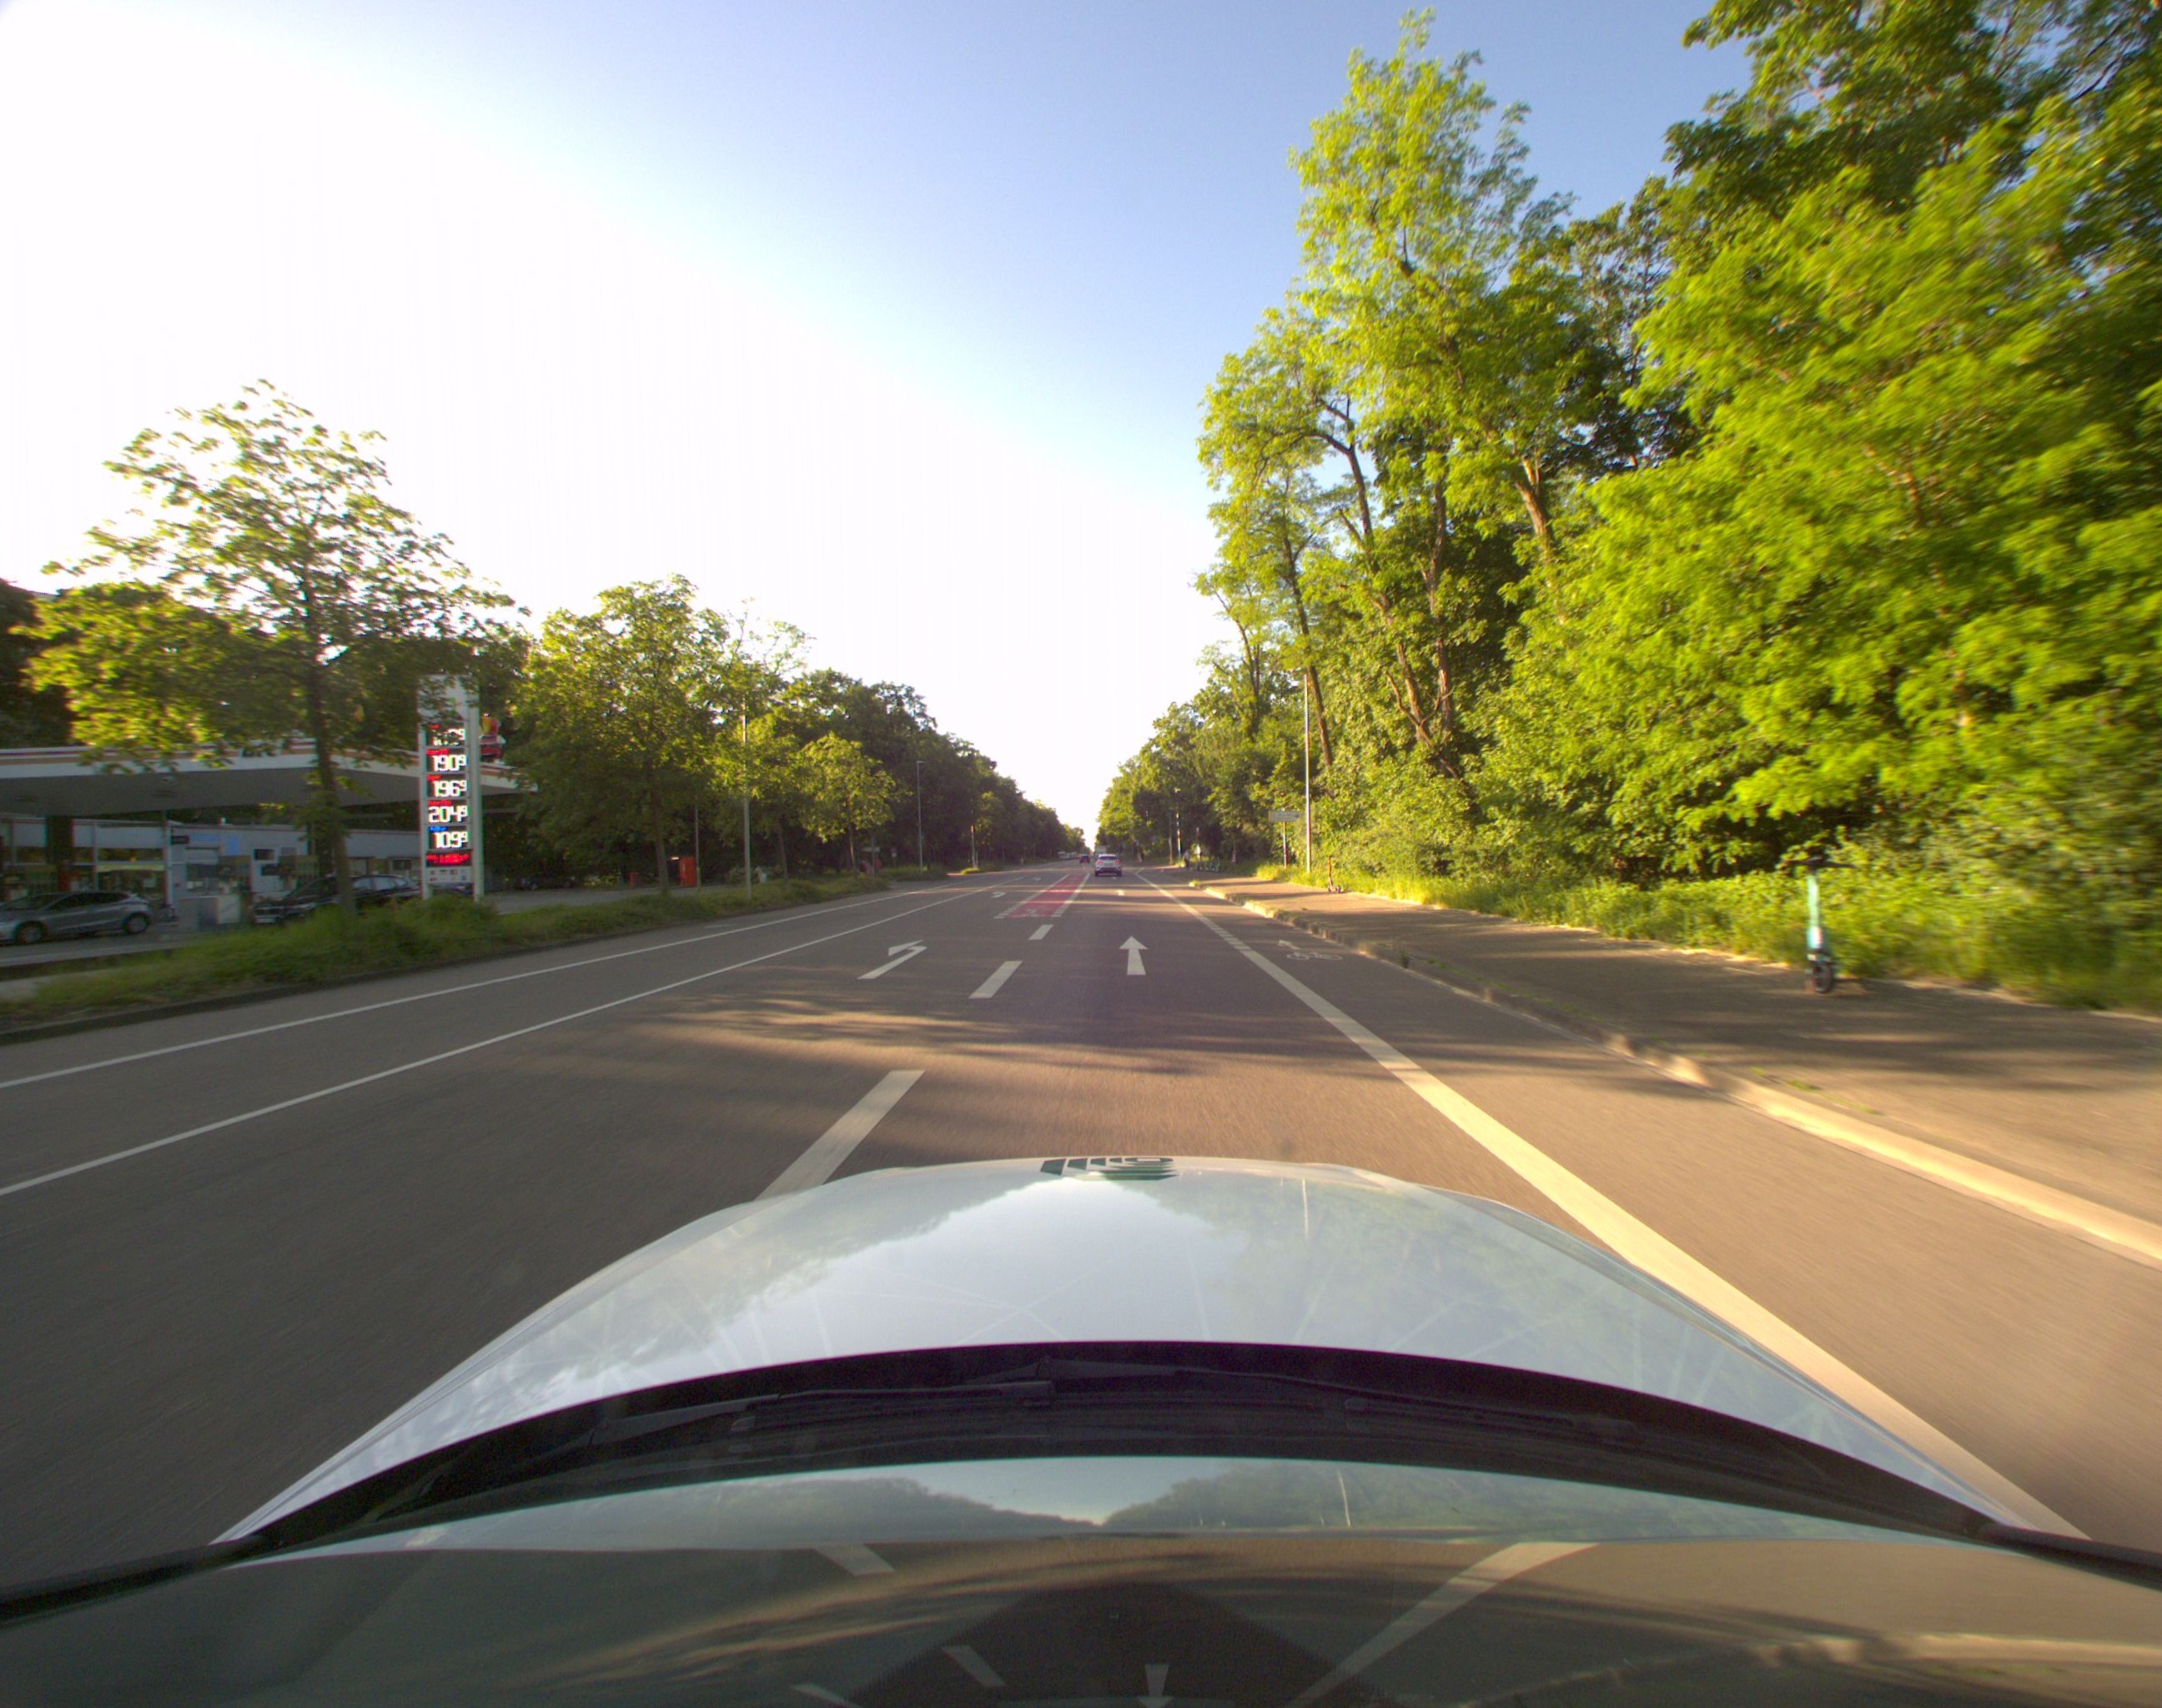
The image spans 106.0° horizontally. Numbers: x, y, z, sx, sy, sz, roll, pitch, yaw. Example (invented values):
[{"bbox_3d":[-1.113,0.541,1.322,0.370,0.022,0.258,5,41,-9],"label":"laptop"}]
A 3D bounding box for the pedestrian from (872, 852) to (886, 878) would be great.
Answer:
[{"bbox_3d":[-15.858,0.889,63.881,0.710,2.013,0.752,-2,0,32],"label":"pedestrian"}]

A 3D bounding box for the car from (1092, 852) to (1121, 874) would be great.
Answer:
[{"bbox_3d":[1.756,0.602,56.262,1.757,1.459,3.814,0,0,-2],"label":"car"}]

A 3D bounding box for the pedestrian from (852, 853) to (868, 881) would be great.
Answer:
[{"bbox_3d":[-16.358,0.938,60.400,0.710,2.013,0.802,-2,0,26],"label":"pedestrian"}]

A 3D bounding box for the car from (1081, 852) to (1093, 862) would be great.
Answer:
[{"bbox_3d":[1.040,0.493,140.535,1.986,1.519,4.002,-2,0,2],"label":"car"}]

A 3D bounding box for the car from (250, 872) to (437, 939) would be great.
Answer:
[{"bbox_3d":[-22.205,1.475,24.815,1.706,1.691,4.449,-2,0,-2],"label":"car"}]

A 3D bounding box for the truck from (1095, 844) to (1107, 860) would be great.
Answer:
[{"bbox_3d":[4.716,-0.437,193.414,2.790,3.570,8.033,-1,0,0],"label":"truck"}]

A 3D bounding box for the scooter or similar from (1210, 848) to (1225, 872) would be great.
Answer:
[{"bbox_3d":[8.595,0.377,51.399,0.679,1.423,1.682,-2,0,1],"label":"scooter or similar"}]

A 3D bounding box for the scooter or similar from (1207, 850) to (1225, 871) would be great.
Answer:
[{"bbox_3d":[8.824,0.426,53.250,0.467,1.306,1.471,-2,0,-20],"label":"scooter or similar"}]

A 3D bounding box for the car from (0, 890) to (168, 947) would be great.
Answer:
[{"bbox_3d":[-30.420,1.895,24.280,1.705,1.376,4.060,-2,0,1],"label":"car"}]

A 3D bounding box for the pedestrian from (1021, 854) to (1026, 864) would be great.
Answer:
[{"bbox_3d":[-11.149,0.974,158.309,0.827,2.013,1.270,-2,0,3],"label":"pedestrian"}]

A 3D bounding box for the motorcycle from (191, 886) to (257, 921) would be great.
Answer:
[{"bbox_3d":[-36.717,2.110,34.911,1.830,1.363,0.928,-2,0,2],"label":"motorcycle"}]

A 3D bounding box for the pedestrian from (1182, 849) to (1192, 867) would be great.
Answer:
[{"bbox_3d":[8.992,0.330,69.025,0.751,1.563,0.804,-2,0,6],"label":"pedestrian"}]

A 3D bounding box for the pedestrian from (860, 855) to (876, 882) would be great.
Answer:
[{"bbox_3d":[-15.998,1.096,61.124,0.710,2.013,0.802,-2,0,26],"label":"pedestrian"}]

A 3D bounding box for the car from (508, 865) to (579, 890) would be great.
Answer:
[{"bbox_3d":[-43.325,1.889,65.748,1.974,1.820,4.298,-2,0,31],"label":"car"}]

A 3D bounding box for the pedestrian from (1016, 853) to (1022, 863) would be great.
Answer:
[{"bbox_3d":[-12.015,0.785,158.317,0.860,2.013,1.270,-2,0,2],"label":"pedestrian"}]

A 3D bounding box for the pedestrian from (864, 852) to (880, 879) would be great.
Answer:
[{"bbox_3d":[-16.237,0.904,63.244,0.710,2.013,0.880,-2,0,32],"label":"pedestrian"}]

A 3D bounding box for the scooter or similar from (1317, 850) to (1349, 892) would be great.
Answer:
[{"bbox_3d":[7.928,0.517,25.630,0.531,1.250,1.542,-2,0,2],"label":"scooter or similar"}]

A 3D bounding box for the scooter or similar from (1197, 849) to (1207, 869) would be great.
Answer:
[{"bbox_3d":[9.172,0.372,61.921,0.678,1.423,1.249,-2,0,10],"label":"scooter or similar"}]

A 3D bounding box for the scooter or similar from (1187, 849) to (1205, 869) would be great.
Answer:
[{"bbox_3d":[8.348,0.376,59.110,0.683,1.423,1.673,-2,0,-14],"label":"scooter or similar"}]

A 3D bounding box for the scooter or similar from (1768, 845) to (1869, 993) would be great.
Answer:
[{"bbox_3d":[7.071,0.565,7.784,1.550,1.250,0.528,-2,0,-42],"label":"scooter or similar"}]

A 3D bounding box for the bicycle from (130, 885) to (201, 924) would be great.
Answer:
[{"bbox_3d":[-37.602,2.051,33.475,1.830,1.477,0.928,-2,0,2],"label":"bicycle"}]

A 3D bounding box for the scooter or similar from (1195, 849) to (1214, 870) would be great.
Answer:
[{"bbox_3d":[8.707,0.363,57.423,0.683,1.423,1.673,-2,0,-14],"label":"scooter or similar"}]

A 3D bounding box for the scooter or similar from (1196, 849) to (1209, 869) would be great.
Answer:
[{"bbox_3d":[9.026,0.342,60.410,0.679,1.423,1.682,-2,0,2],"label":"scooter or similar"}]

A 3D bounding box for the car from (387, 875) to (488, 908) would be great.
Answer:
[{"bbox_3d":[-35.932,2.083,45.561,3.979,1.555,1.896,-2,0,-4],"label":"car"}]

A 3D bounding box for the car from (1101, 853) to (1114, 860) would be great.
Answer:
[{"bbox_3d":[4.811,0.461,149.632,1.988,1.327,3.997,-2,0,-2],"label":"car"}]

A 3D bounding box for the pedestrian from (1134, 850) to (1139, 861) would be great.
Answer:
[{"bbox_3d":[8.417,0.187,123.260,0.696,1.653,0.876,-2,0,1],"label":"pedestrian"}]

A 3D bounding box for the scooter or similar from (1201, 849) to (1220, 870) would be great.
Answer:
[{"bbox_3d":[8.769,0.361,55.350,0.682,1.423,1.674,-2,0,-12],"label":"scooter or similar"}]

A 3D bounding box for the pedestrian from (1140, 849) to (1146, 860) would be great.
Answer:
[{"bbox_3d":[9.408,0.104,123.264,0.741,1.599,0.798,-2,0,1],"label":"pedestrian"}]
